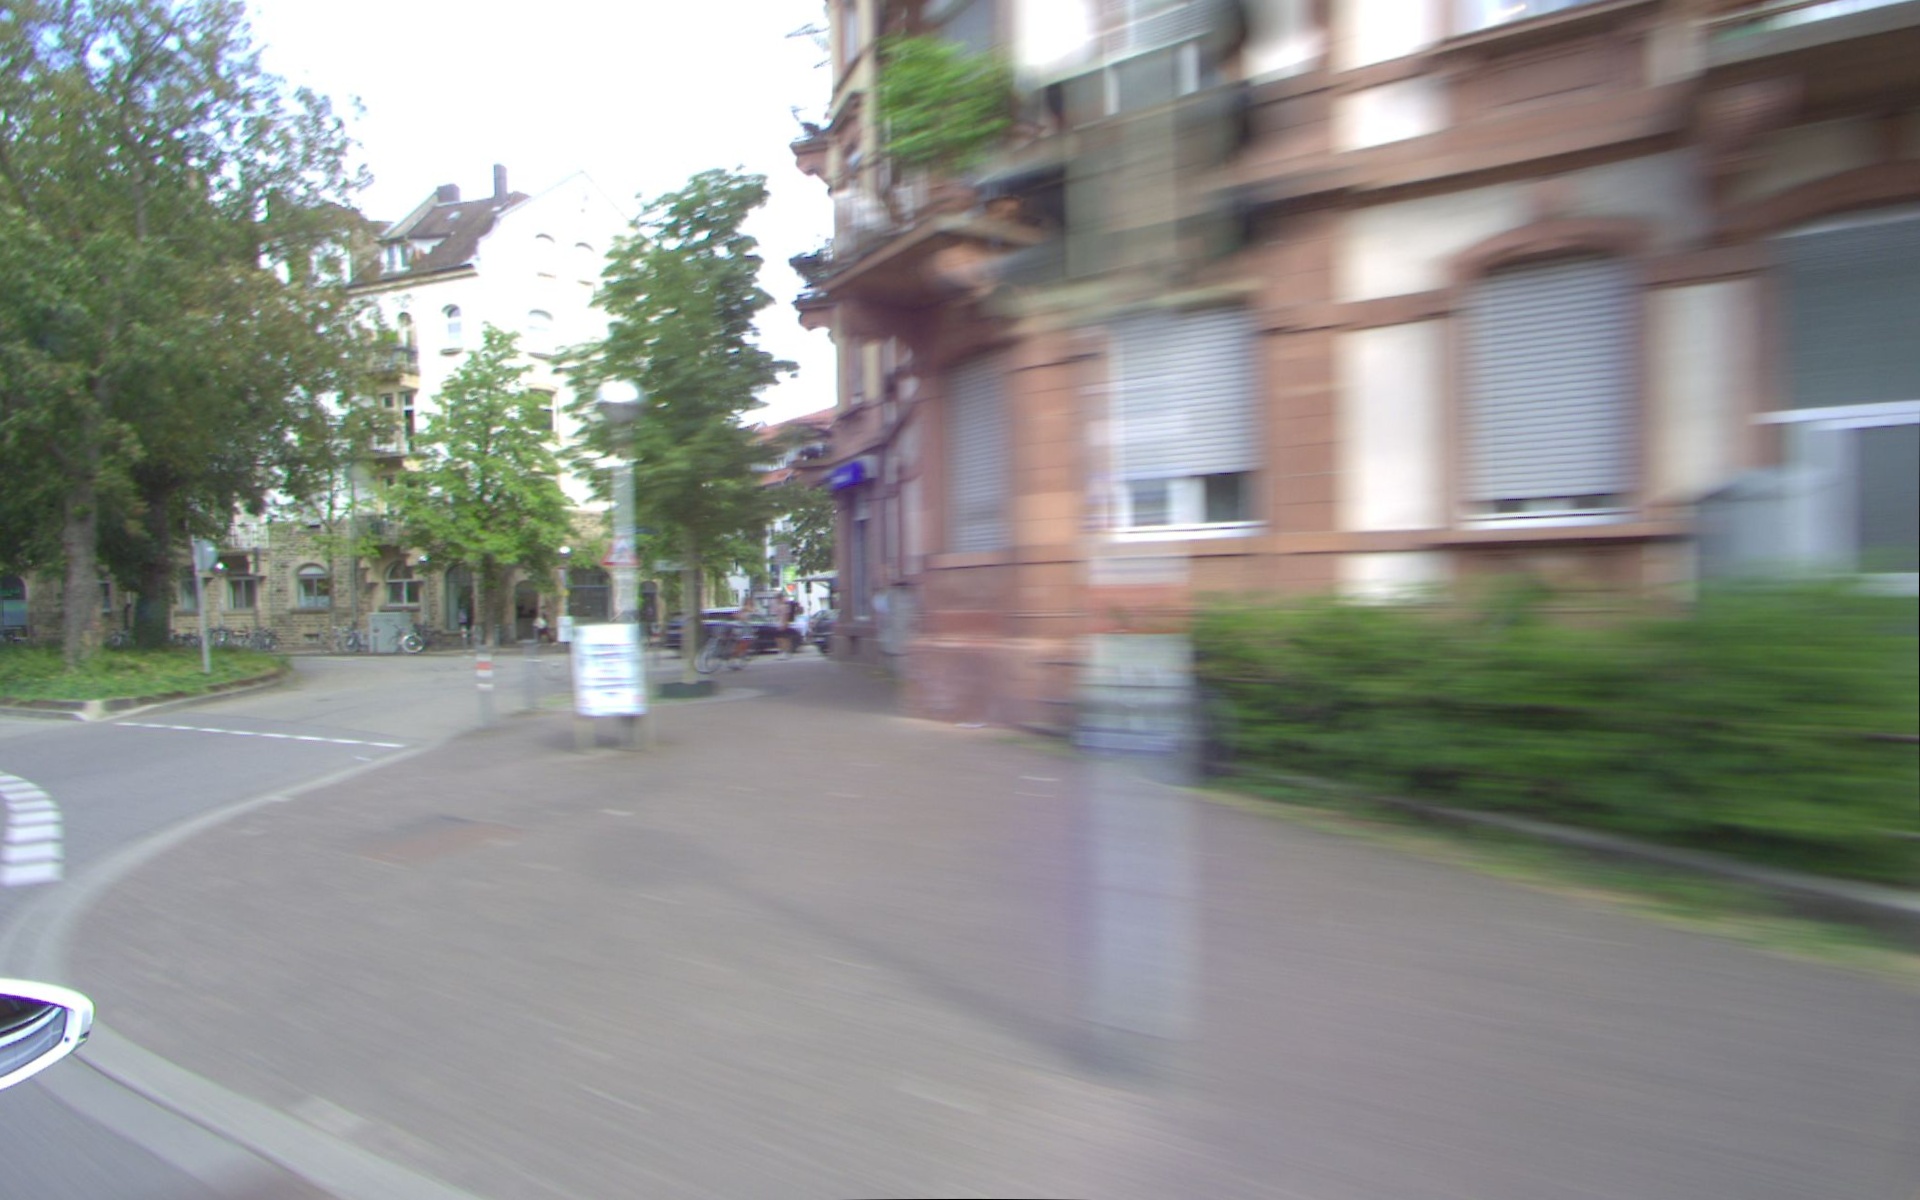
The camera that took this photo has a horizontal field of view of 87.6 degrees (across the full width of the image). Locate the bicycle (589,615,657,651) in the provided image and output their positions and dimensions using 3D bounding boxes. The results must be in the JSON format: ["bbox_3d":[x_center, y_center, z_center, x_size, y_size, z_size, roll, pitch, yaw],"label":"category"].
[{"bbox_3d":[-11.420,1.103,33.984,2.074,1.167,0.651,-1,1,-33],"label":"bicycle"}]

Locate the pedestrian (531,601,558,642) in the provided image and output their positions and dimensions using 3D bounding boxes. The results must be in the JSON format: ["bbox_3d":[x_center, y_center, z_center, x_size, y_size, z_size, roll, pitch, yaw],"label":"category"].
[{"bbox_3d":[-17.233,0.890,41.539,0.826,1.645,0.726,-1,1,-42],"label":"pedestrian"}]

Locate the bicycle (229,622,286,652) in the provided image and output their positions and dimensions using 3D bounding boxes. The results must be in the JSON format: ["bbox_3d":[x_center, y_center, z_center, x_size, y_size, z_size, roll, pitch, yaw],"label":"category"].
[{"bbox_3d":[-28.829,1.519,41.099,0.524,1.143,1.887,-1,0,25],"label":"bicycle"}]

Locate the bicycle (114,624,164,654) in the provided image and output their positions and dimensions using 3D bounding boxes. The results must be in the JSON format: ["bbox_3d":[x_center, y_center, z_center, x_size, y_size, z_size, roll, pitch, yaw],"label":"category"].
[{"bbox_3d":[-34.070,1.597,41.573,0.522,1.143,1.893,-1,1,-2],"label":"bicycle"}]

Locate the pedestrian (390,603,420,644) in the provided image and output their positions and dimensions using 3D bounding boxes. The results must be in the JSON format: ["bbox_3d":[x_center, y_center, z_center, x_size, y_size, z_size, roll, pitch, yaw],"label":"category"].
[{"bbox_3d":[-23.344,0.976,42.120,0.821,1.698,0.731,-1,1,22],"label":"pedestrian"}]

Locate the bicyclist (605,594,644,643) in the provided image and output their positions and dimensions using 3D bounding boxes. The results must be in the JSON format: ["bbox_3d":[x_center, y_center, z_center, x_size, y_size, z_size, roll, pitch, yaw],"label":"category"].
[{"bbox_3d":[-11.393,0.620,33.993,1.124,1.627,0.642,-1,1,-33],"label":"bicyclist"}]

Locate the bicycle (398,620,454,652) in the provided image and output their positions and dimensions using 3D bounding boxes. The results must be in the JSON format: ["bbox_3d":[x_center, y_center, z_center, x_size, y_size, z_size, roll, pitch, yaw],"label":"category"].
[{"bbox_3d":[-20.415,1.375,38.327,0.525,1.143,1.885,0,0,29],"label":"bicycle"}]

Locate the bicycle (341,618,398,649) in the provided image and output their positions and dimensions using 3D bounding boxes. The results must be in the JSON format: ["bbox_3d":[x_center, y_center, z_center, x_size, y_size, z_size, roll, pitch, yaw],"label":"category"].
[{"bbox_3d":[-23.236,1.307,39.406,0.525,1.143,1.882,0,0,34],"label":"bicycle"}]

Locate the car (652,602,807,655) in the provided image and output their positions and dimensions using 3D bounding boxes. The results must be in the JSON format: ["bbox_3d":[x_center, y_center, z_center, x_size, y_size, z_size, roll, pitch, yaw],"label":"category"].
[{"bbox_3d":[-6.916,0.822,30.459,1.737,1.460,4.443,-1,0,41],"label":"car"}]

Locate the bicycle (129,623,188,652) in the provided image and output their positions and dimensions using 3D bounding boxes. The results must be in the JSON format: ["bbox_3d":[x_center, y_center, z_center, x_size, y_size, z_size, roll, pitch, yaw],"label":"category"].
[{"bbox_3d":[-33.262,1.547,41.599,0.553,1.143,1.889,-1,0,20],"label":"bicycle"}]

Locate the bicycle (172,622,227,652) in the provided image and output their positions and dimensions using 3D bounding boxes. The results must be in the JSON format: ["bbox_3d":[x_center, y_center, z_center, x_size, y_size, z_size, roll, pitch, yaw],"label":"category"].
[{"bbox_3d":[-31.489,1.521,41.469,0.571,1.143,1.892,-1,0,11],"label":"bicycle"}]

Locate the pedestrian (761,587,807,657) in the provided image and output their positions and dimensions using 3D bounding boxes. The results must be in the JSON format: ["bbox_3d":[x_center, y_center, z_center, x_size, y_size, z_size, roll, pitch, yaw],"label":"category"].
[{"bbox_3d":[-4.556,0.564,25.905,0.882,1.752,0.751,-3,3,-38],"label":"pedestrian"}]

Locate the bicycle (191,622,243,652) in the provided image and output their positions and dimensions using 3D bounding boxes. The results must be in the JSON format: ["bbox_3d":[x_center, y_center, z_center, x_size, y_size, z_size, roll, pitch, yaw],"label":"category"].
[{"bbox_3d":[-30.691,1.511,41.376,0.583,1.143,1.893,-1,0,6],"label":"bicycle"}]

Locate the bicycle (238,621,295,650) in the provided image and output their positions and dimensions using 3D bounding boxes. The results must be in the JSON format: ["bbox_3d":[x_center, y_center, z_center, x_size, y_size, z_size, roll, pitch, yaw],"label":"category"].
[{"bbox_3d":[-28.286,1.434,40.894,0.524,1.143,1.887,-1,0,25],"label":"bicycle"}]

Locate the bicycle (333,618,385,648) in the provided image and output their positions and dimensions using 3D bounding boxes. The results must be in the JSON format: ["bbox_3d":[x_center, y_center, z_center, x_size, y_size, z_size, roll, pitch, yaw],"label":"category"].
[{"bbox_3d":[-23.963,1.317,39.934,0.523,1.143,1.890,-1,0,17],"label":"bicycle"}]

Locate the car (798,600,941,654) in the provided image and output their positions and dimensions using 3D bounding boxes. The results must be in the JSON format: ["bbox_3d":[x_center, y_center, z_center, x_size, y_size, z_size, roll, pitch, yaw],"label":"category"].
[{"bbox_3d":[-2.659,0.758,29.934,3.956,1.460,1.803,-1,0,-41],"label":"car"}]

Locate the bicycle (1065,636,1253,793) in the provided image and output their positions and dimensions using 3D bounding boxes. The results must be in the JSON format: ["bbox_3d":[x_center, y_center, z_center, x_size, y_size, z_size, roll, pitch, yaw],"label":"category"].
[{"bbox_3d":[1.432,0.790,7.457,0.502,0.982,1.542,-1,1,-29],"label":"bicycle"}]

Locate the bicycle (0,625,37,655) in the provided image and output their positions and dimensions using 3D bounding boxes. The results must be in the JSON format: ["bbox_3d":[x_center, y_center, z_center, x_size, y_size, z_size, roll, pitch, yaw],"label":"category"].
[{"bbox_3d":[-38.597,1.610,40.838,0.656,1.143,1.889,-1,0,-19],"label":"bicycle"}]

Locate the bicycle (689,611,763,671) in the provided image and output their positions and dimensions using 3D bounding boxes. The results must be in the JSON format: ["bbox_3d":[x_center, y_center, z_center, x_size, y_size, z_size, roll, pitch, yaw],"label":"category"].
[{"bbox_3d":[-4.773,0.821,20.544,0.661,1.159,1.668,0,1,20],"label":"bicycle"}]

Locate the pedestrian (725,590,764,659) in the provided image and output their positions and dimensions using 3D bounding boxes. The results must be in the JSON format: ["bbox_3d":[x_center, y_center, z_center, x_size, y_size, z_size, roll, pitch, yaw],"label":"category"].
[{"bbox_3d":[-5.674,0.624,26.329,0.722,1.752,0.888,-3,2,-29],"label":"pedestrian"}]
